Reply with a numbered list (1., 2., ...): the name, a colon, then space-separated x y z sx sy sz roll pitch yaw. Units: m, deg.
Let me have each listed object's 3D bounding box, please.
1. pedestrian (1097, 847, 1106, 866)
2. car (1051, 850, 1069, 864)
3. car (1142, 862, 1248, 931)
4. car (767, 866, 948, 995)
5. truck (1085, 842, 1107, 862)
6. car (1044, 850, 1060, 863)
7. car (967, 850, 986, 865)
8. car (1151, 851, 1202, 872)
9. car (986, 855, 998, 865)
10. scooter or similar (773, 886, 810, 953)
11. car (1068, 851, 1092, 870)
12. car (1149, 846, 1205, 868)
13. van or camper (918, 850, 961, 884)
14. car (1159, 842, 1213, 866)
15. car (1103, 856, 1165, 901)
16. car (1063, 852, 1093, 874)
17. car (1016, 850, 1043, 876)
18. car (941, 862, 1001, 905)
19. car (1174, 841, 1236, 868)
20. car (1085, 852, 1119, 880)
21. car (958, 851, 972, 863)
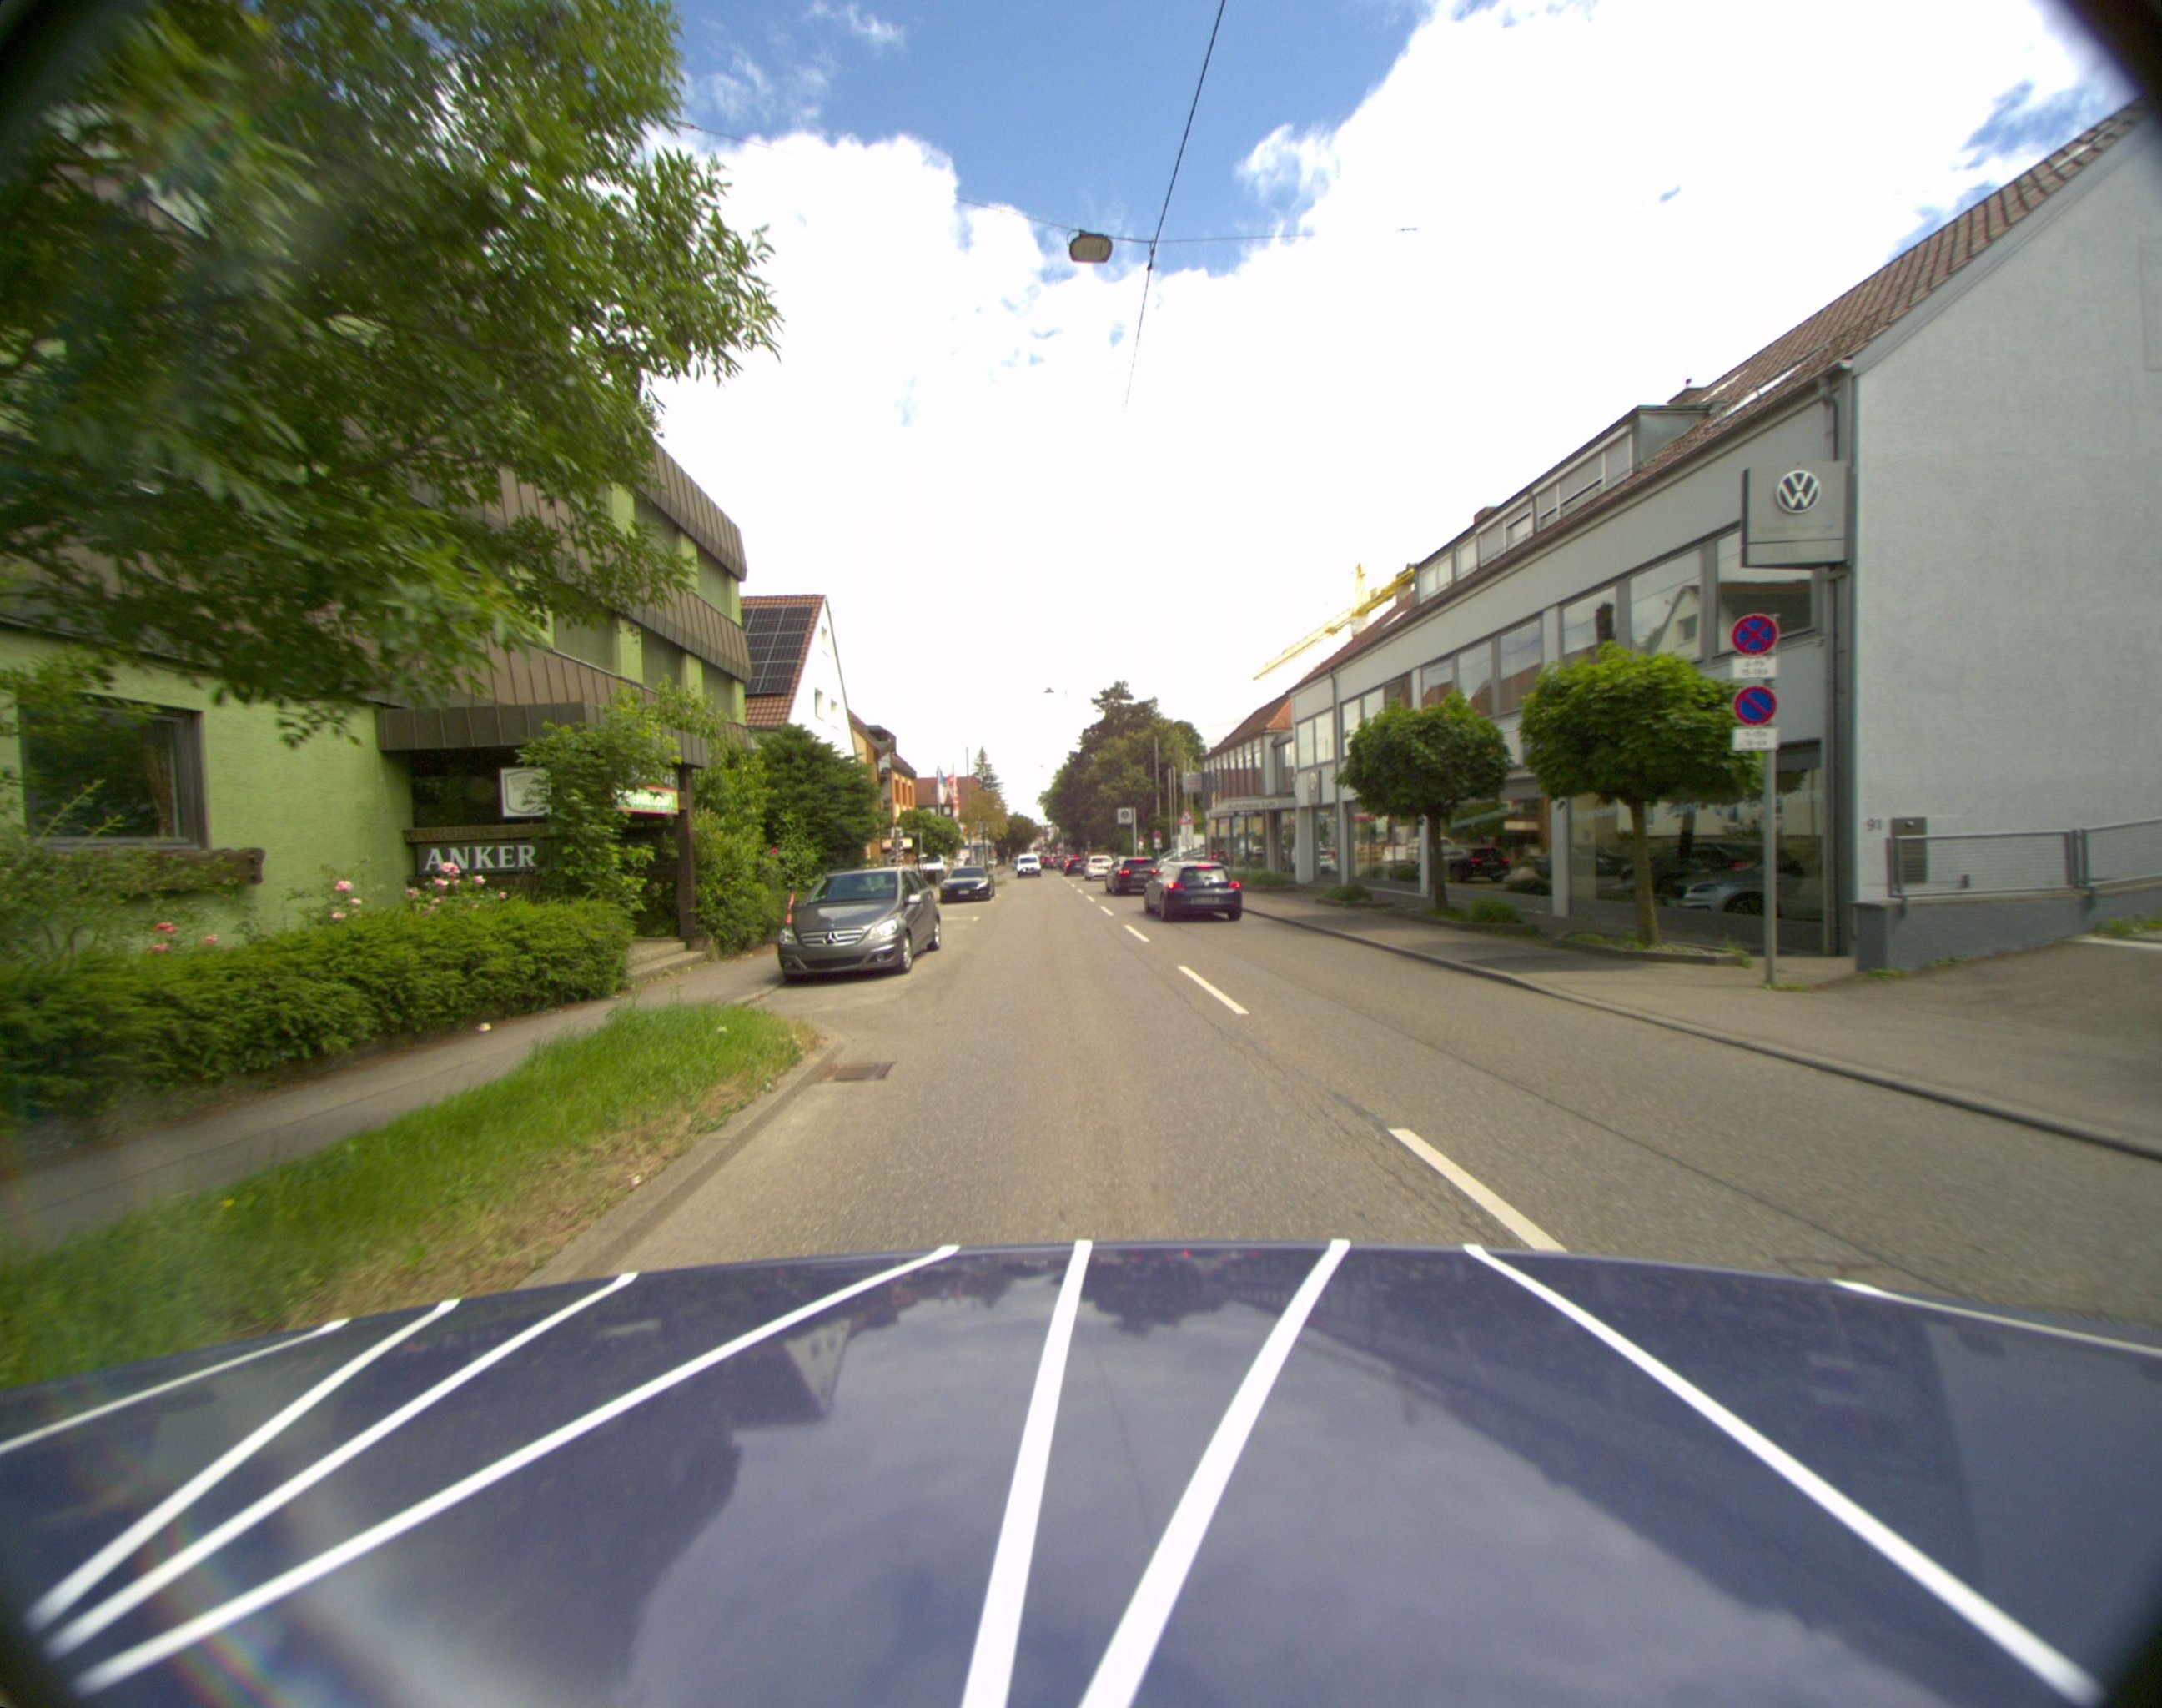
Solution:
1. pedestrian: 1.925 0.220 72.130 0.684 1.727 0.868 -3 2 -4
2. car: -2.476 0.345 87.671 1.871 1.608 4.533 -1 0 -4
3. car: 2.655 0.958 18.651 1.775 1.417 4.107 0 0 -3
4. car: -3.374 1.058 12.382 1.694 1.656 4.462 -2 -1 -1
5. truck: 1.836 -0.316 97.099 2.312 2.406 6.090 -3 1 -2
6. car: -3.623 0.304 94.206 1.871 1.518 4.526 -2 0 -3
7. car: -12.474 0.372 91.153 1.619 1.586 4.158 4 1 0
8. car: 7.580 0.616 60.559 3.750 1.509 1.728 -2 0 -5
9. car: -13.463 0.915 114.977 1.790 1.309 4.478 -1 1 -6
10. scooter or similar: -6.061 1.337 15.956 0.301 1.297 1.404 1 0 -3
11. car: -0.139 0.568 70.459 1.836 1.620 4.319 -2 0 -4
12. car: 8.019 0.259 63.715 4.301 1.631 1.903 -3 0 -3
13. van or camper: -9.468 0.835 51.169 1.871 2.020 4.546 -3 1 0
14. car: 8.041 0.026 58.110 3.750 1.551 1.534 -4 1 -5
15. car: 2.005 0.907 29.837 1.781 1.514 4.459 -2 1 -4
16. car: -0.240 0.676 58.334 1.837 1.514 4.167 -2 1 -6
17. car: -4.040 0.699 60.322 1.966 1.797 4.427 -4 1 -3
18. car: -4.402 1.130 31.053 1.990 1.440 4.749 -2 1 -3
19. car: 8.960 0.003 55.044 4.024 1.621 1.653 -4 1 -5
20. car: 1.273 0.692 47.079 1.694 1.570 3.798 -2 1 -4
21. car: -15.384 0.400 100.746 1.639 1.520 4.200 2 1 -6
